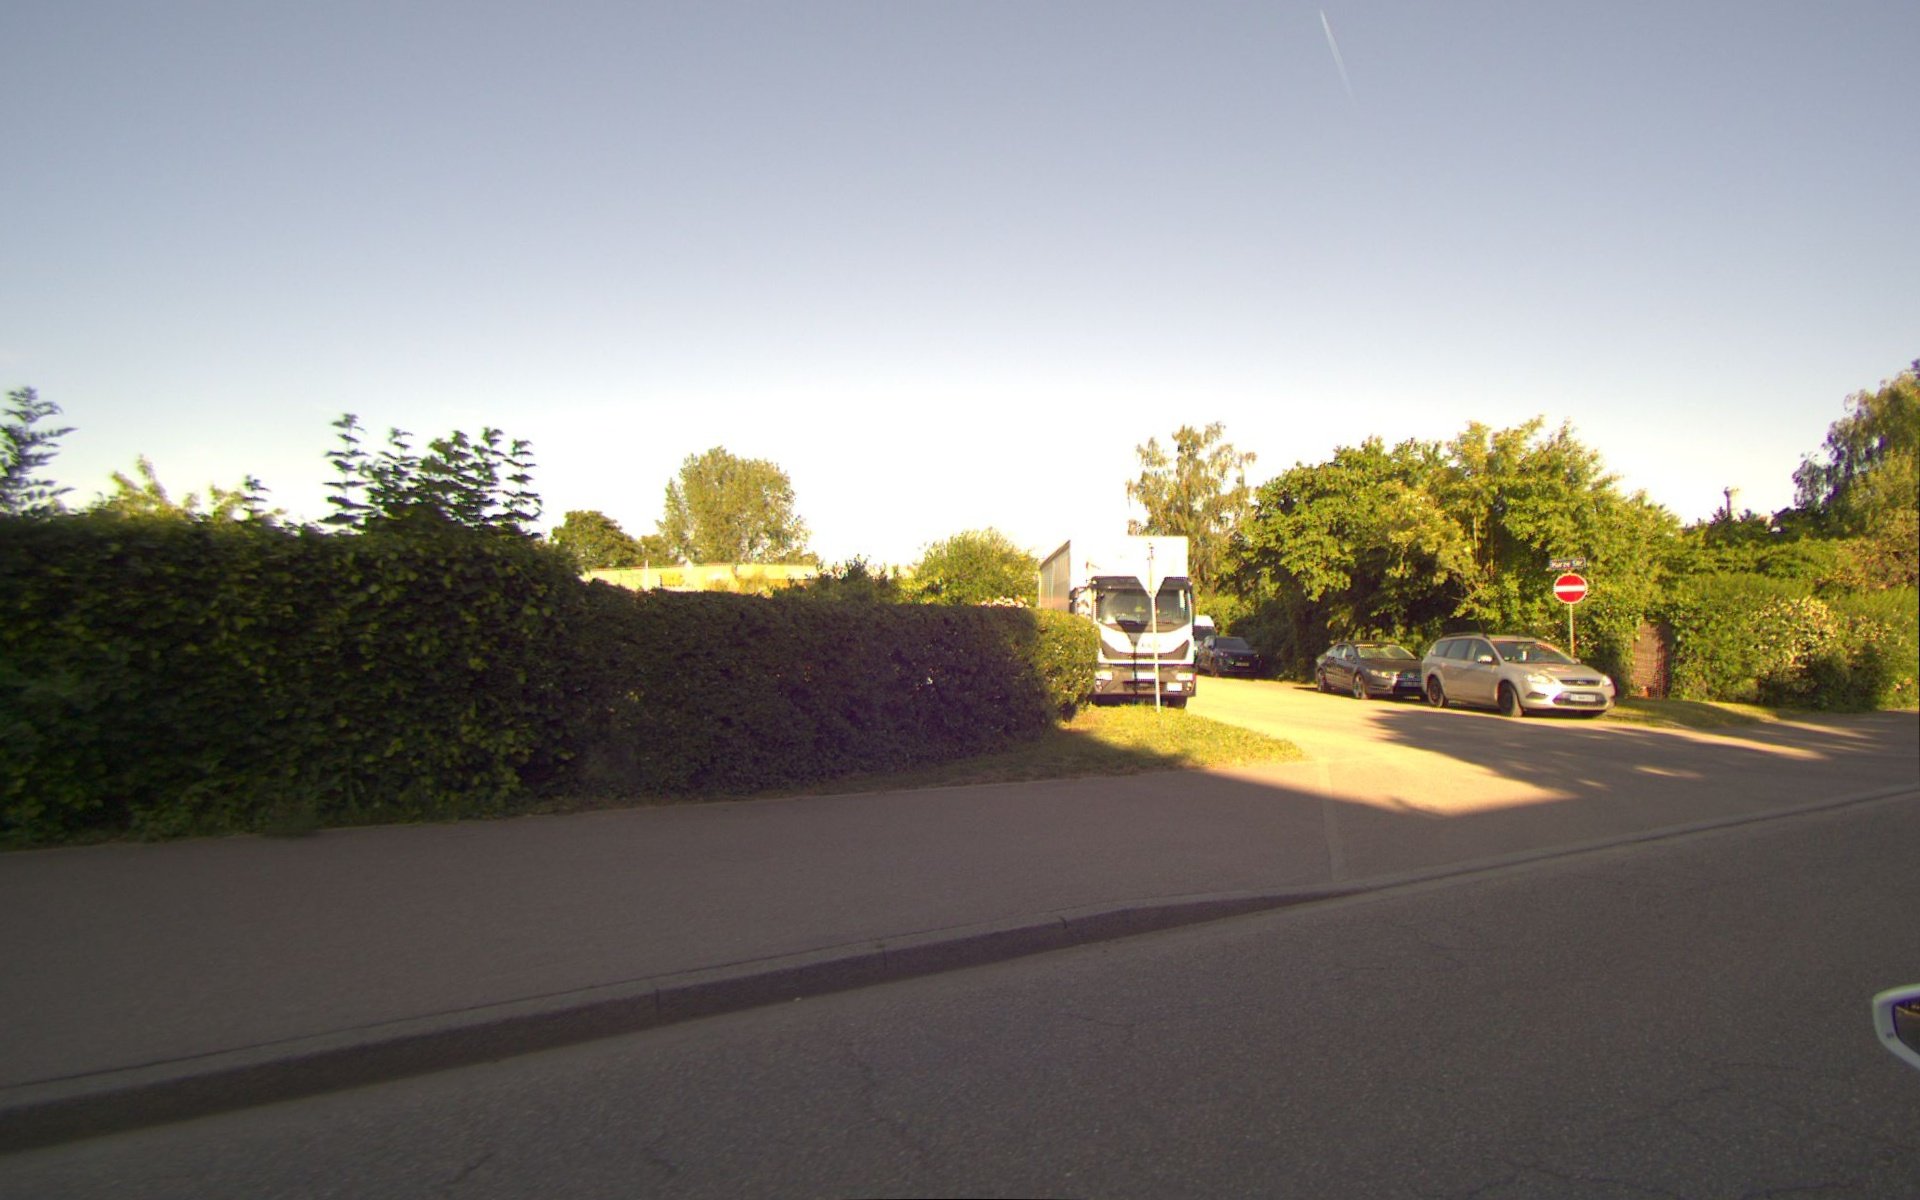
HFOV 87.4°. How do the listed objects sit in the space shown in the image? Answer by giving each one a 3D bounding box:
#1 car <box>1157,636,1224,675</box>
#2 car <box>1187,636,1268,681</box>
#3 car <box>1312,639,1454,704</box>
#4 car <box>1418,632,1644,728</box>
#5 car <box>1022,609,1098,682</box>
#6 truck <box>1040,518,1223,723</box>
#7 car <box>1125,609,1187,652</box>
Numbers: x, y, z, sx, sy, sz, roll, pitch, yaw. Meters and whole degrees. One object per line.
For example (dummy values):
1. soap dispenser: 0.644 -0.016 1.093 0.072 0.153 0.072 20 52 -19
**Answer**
1. car: 10.092 2.407 44.268 1.840 1.452 3.847 2 0 -3
2. car: 10.073 2.188 38.144 1.840 1.452 3.847 2 0 -3
3. car: 10.463 1.758 25.210 1.612 1.454 4.205 2 -3 -3
4. car: 10.946 1.467 19.659 1.840 1.510 4.222 2 0 -3
5. car: 3.539 1.625 36.566 2.022 2.383 5.643 2 -2 -1
6. truck: 3.728 0.539 24.308 2.658 3.934 9.336 2 -2 0
7. car: 10.116 1.523 52.147 1.962 2.040 4.260 2 0 -6
